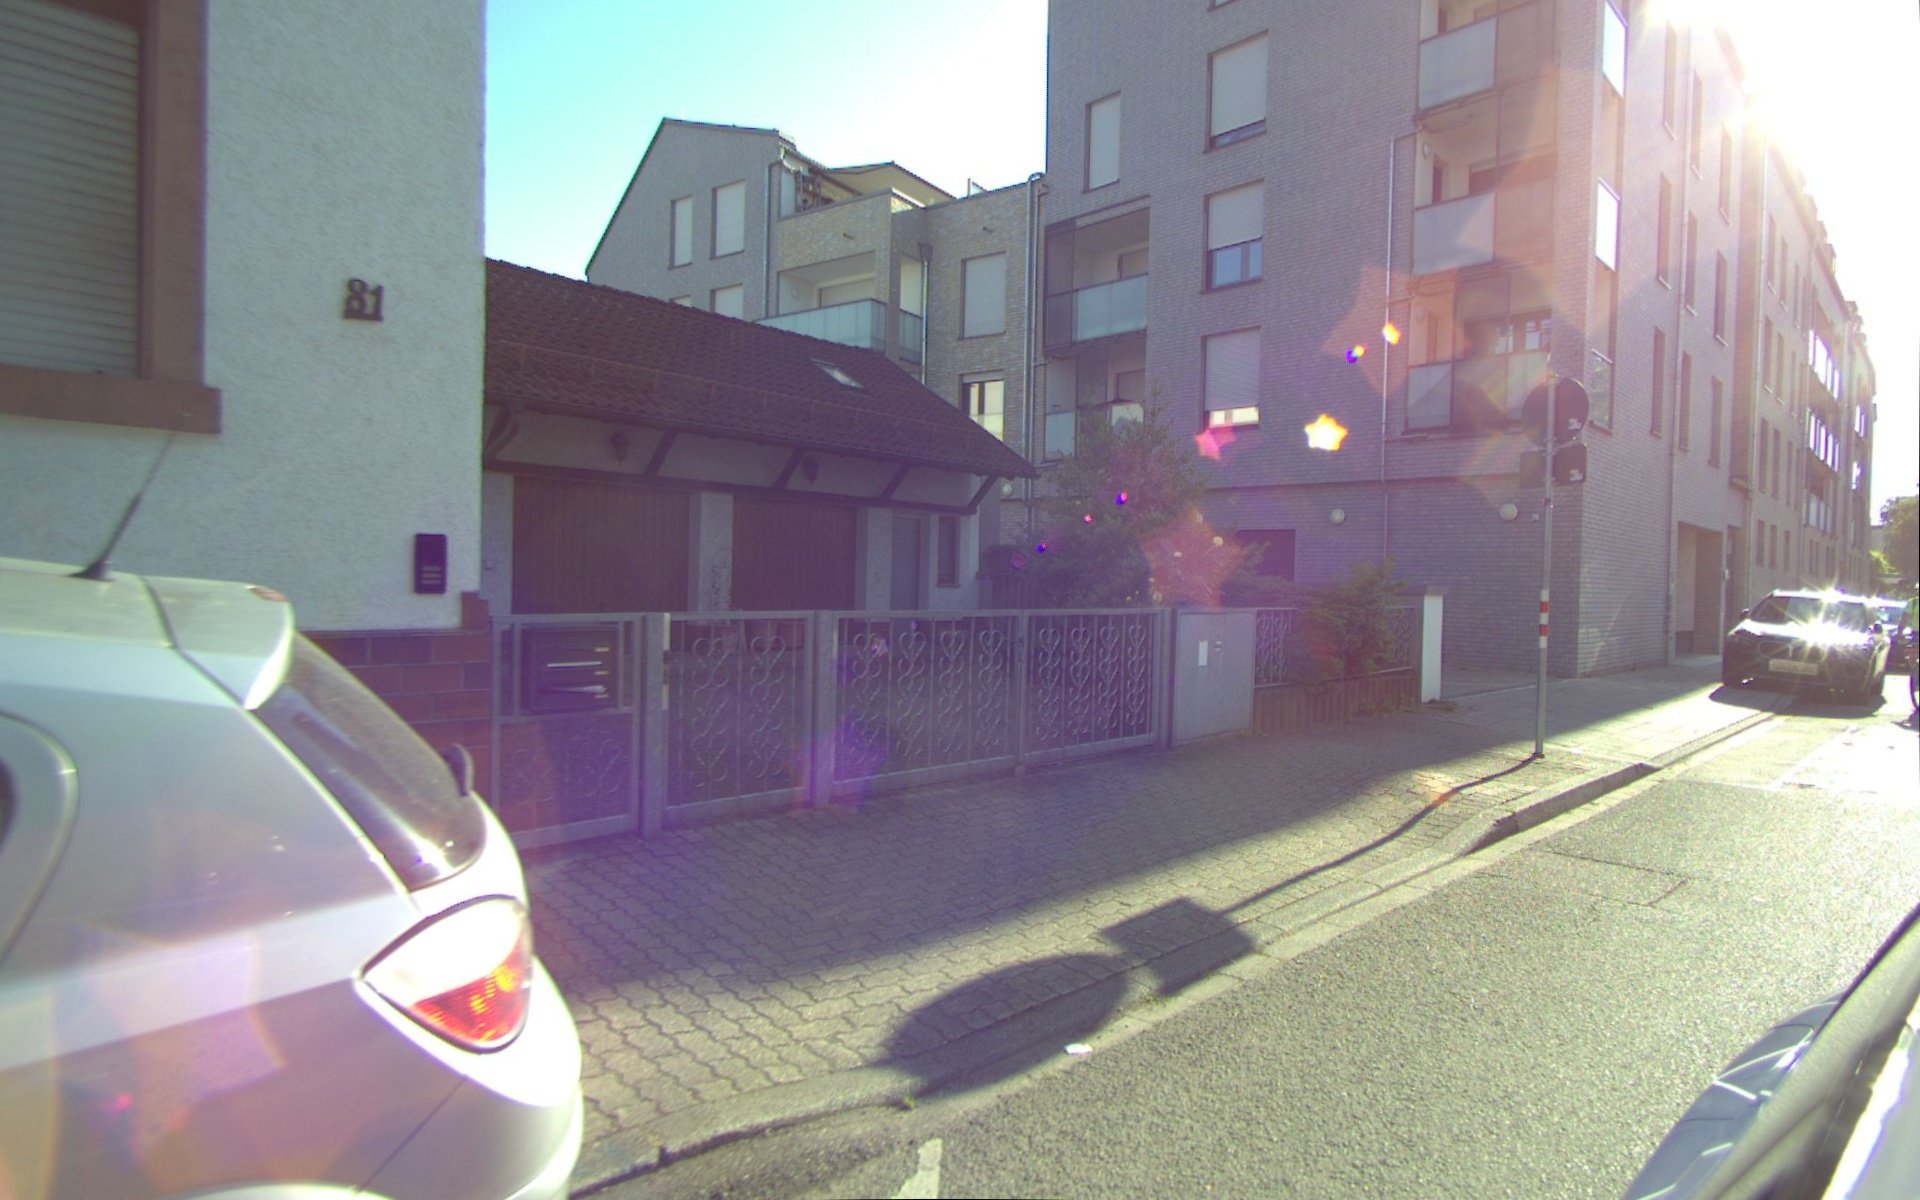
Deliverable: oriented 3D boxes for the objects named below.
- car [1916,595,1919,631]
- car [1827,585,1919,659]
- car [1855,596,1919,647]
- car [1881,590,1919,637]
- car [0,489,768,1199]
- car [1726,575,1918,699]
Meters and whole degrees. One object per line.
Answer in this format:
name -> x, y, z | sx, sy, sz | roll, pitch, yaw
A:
car -> 42.372, 0.558, 43.495 | 1.817, 1.484, 4.202 | 3, 2, 44
car -> 23.295, 0.524, 25.475 | 1.994, 1.673, 4.688 | 2, 1, 43
car -> 30.165, 0.645, 32.565 | 4.007, 1.421, 1.715 | 0, 5, -45
car -> 37.837, 0.548, 39.717 | 4.689, 1.733, 1.894 | 1, 1, -40
car -> -2.513, 0.590, 0.814 | 4.364, 1.510, 1.744 | 0, 3, -43
car -> 14.216, 0.521, 16.596 | 4.545, 1.656, 1.857 | 0, 4, -44
